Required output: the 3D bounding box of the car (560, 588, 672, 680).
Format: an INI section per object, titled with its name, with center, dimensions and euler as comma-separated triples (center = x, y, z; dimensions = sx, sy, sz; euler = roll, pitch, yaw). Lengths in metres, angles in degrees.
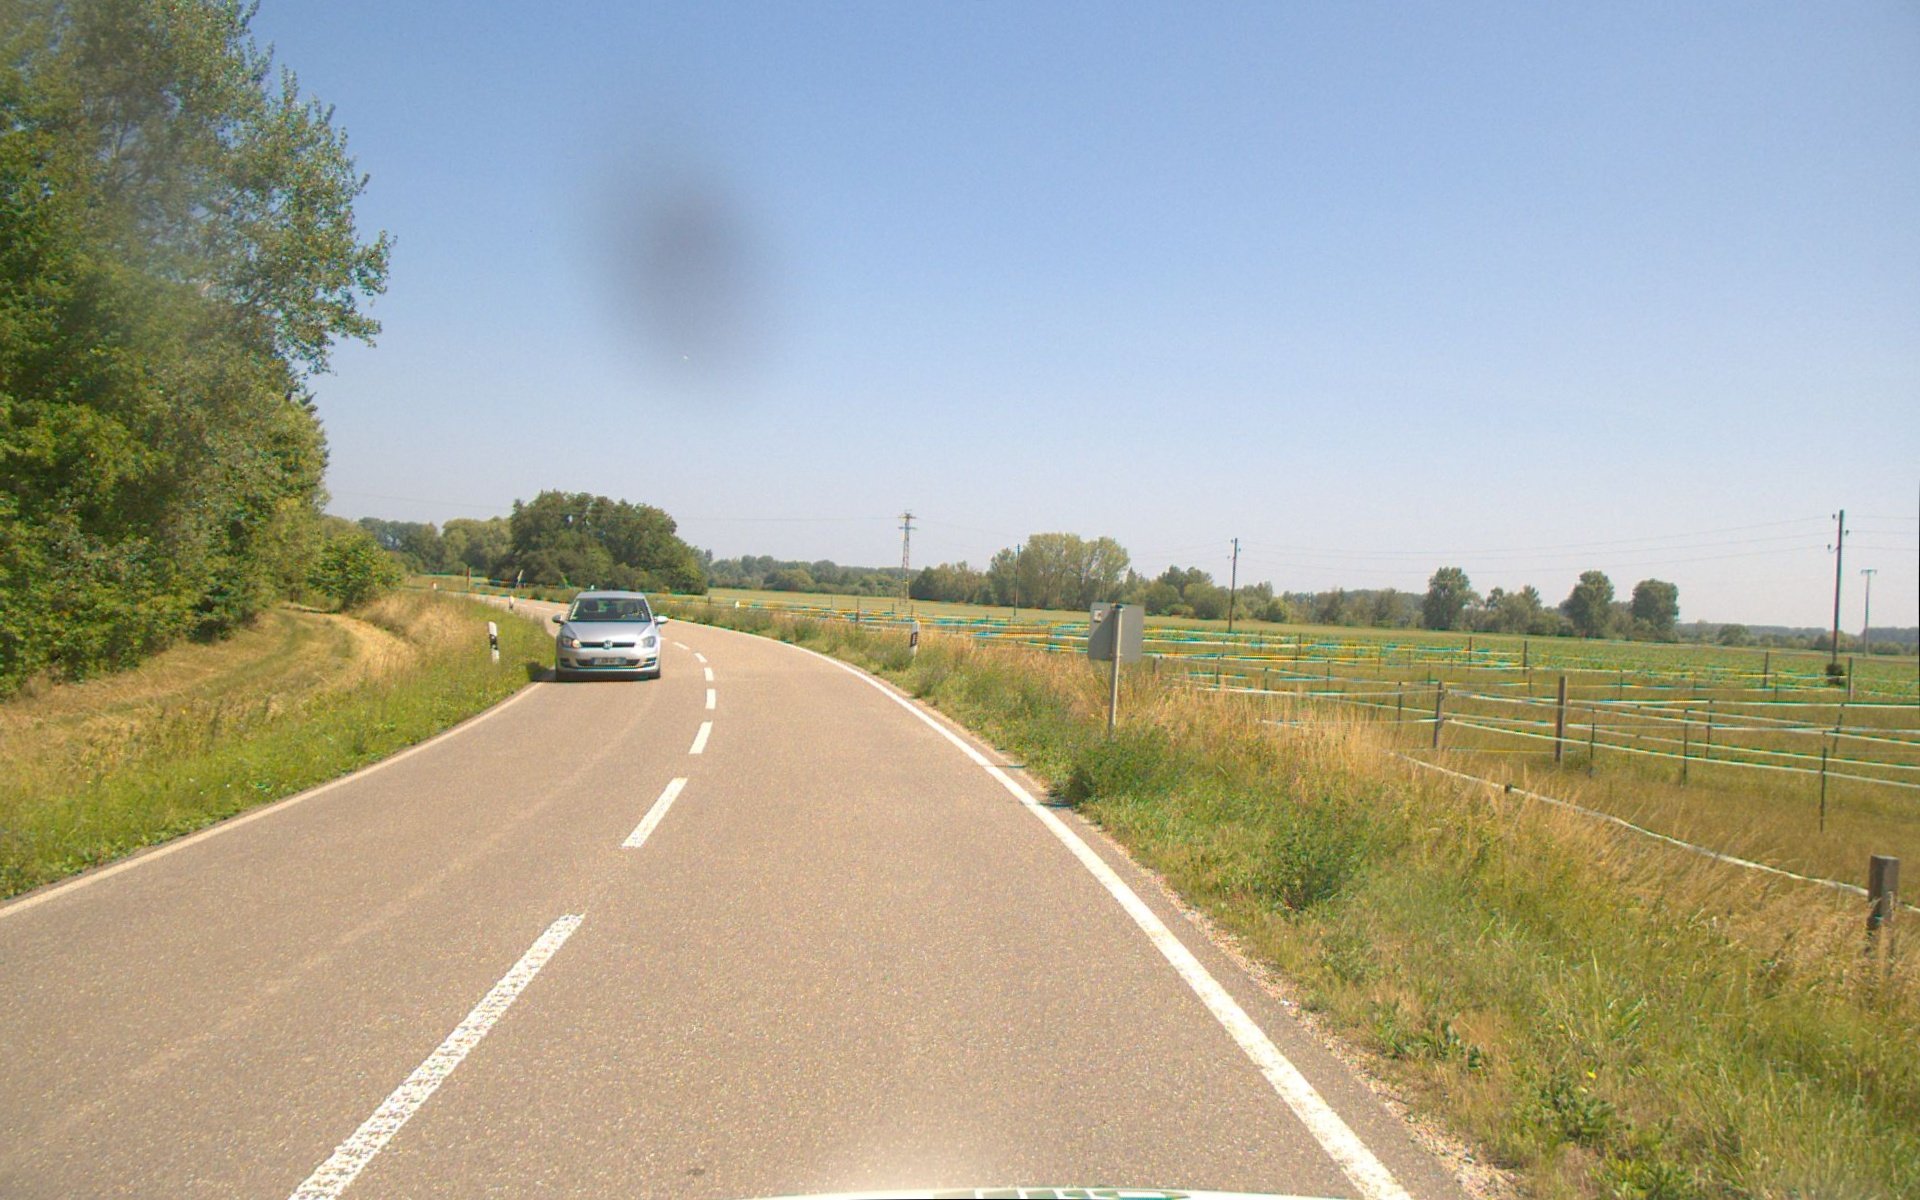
[car]
center = -5.962, 0.539, 28.920
dimensions = 1.752, 1.452, 4.049
euler = -1, 0, -11
